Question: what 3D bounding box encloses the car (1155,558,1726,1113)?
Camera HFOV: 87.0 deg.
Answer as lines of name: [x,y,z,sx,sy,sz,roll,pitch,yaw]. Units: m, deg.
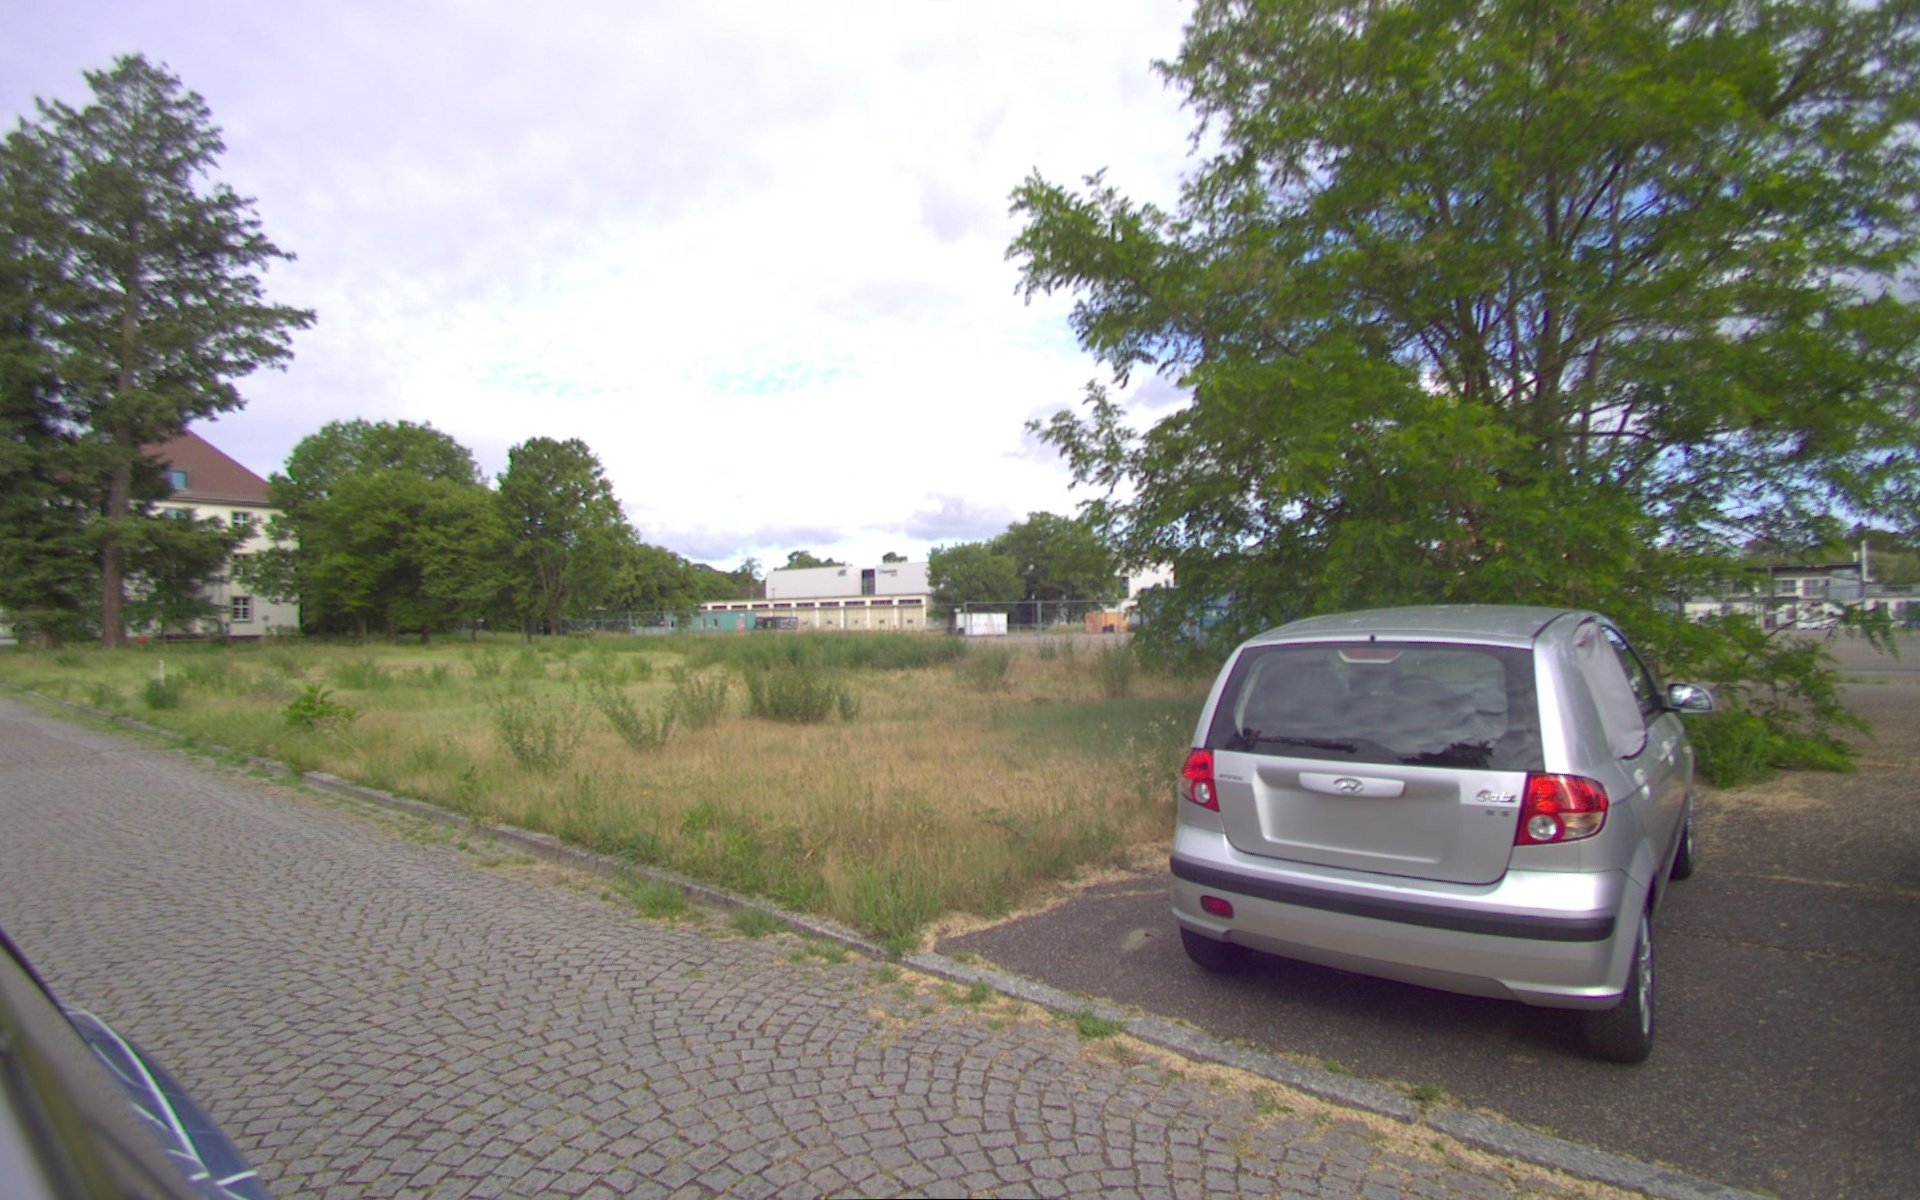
car: [2.496,0.604,4.692,1.580,1.490,3.668,-2,1,38]
